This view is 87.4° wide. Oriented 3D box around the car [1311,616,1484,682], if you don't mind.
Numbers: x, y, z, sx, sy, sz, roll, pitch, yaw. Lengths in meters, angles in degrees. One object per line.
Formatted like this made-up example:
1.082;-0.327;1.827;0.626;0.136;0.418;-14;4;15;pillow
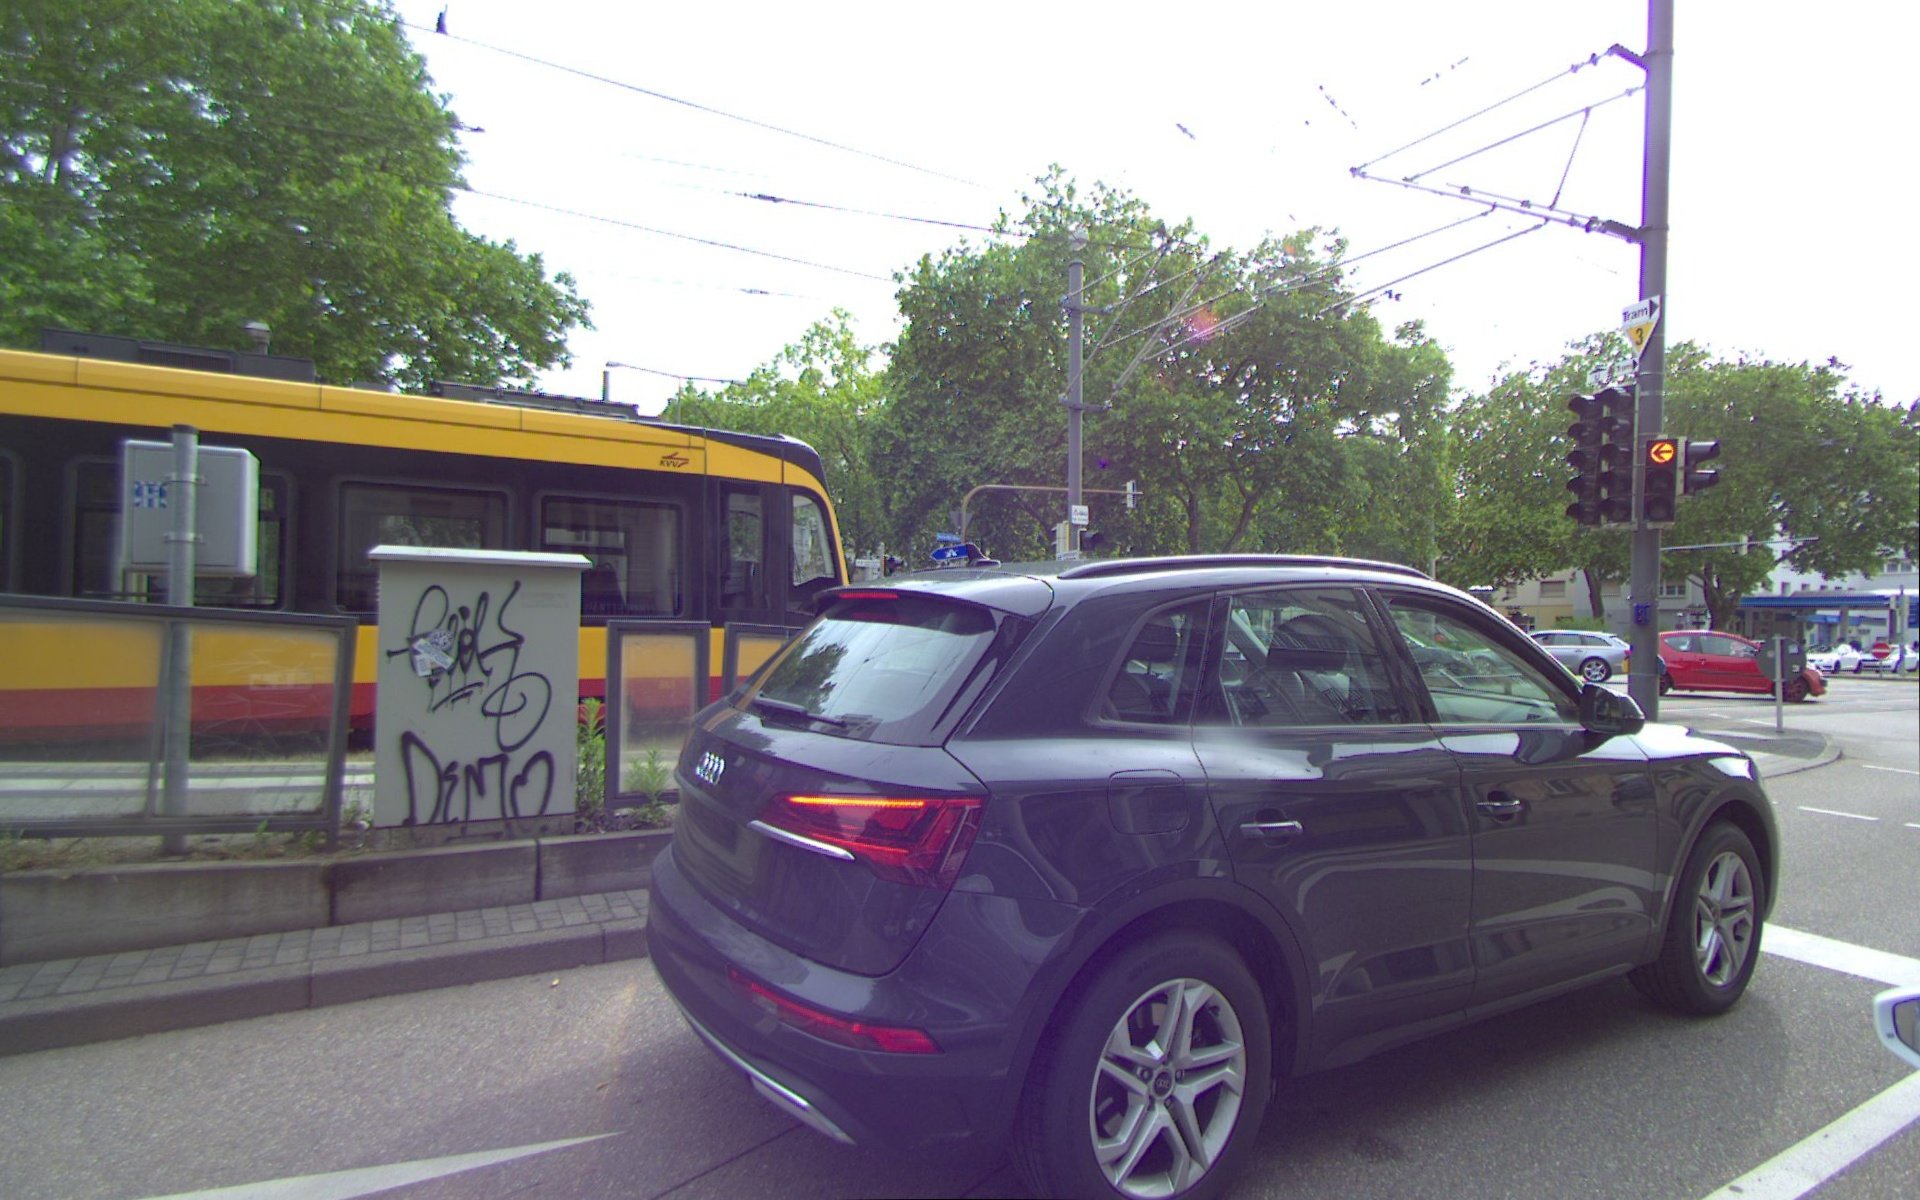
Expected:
12.518;1.346;28.839;4.268;1.607;1.806;2;0;35;car

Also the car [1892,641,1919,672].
53.109;3.116;55.088;3.792;1.578;1.885;2;0;-30;car

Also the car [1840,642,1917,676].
47.214;3.027;51.606;3.792;1.578;1.885;2;0;-30;car

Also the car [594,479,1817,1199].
1.097;0.663;3.696;4.308;1.622;1.870;2;-1;-31;car

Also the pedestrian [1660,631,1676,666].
37.259;2.544;52.870;0.541;1.808;0.375;2;0;1;pedestrian

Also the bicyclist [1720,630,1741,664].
37.281;2.275;48.574;0.611;1.588;0.585;2;0;-30;bicyclist

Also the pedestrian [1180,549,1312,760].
2.412;0.443;8.508;0.722;1.683;0.750;2;0;-30;pedestrian

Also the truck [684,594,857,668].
-8.992;1.302;46.484;2.620;2.980;10.042;2;0;-45;truck

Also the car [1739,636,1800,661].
55.106;3.287;68.369;3.954;1.550;1.984;2;0;-30;car

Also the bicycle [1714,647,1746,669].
37.141;2.784;48.467;1.914;1.031;0.519;2;0;-30;bicycle

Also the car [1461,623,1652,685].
17.741;1.545;29.983;4.660;1.530;1.830;2;0;39;car

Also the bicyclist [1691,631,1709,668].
36.316;2.424;49.298;0.461;1.808;0.534;2;0;-10;bicyclist

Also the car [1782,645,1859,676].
41.668;2.921;48.599;3.954;1.343;1.626;2;0;-31;car

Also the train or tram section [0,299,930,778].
-7.881;-0.478;9.054;15.665;3.636;3.045;2;0;-31;train or tram section
